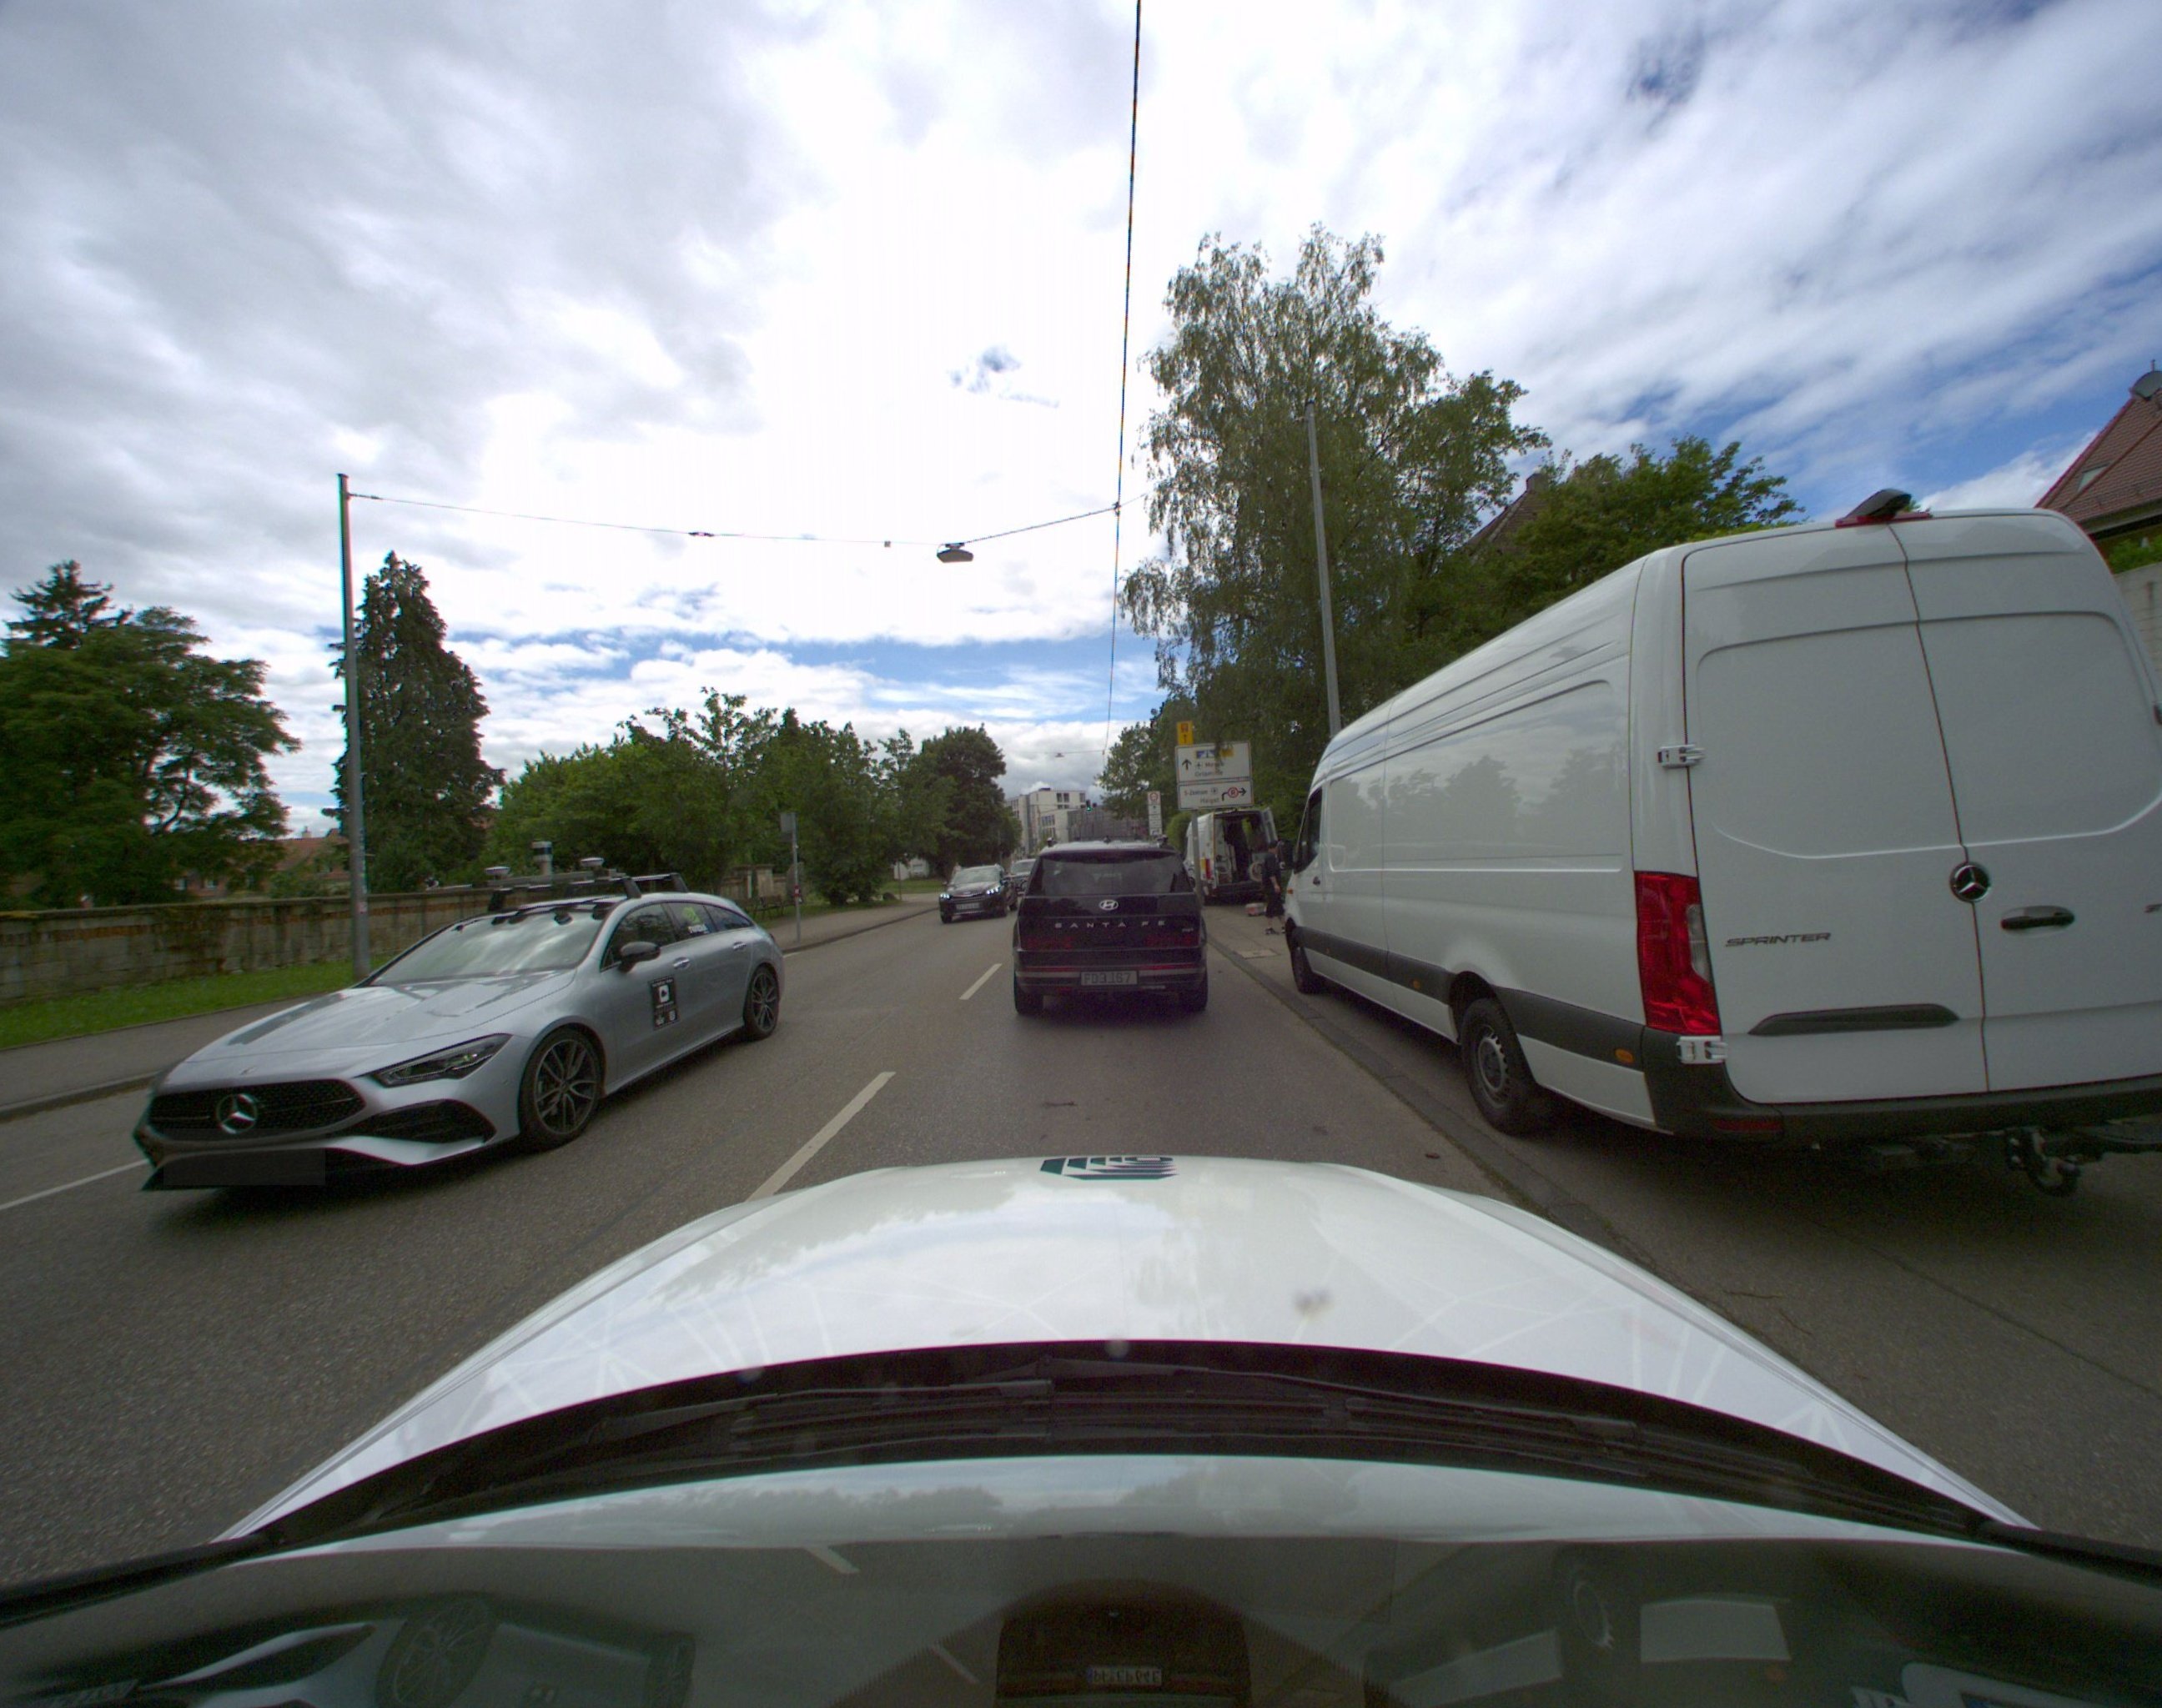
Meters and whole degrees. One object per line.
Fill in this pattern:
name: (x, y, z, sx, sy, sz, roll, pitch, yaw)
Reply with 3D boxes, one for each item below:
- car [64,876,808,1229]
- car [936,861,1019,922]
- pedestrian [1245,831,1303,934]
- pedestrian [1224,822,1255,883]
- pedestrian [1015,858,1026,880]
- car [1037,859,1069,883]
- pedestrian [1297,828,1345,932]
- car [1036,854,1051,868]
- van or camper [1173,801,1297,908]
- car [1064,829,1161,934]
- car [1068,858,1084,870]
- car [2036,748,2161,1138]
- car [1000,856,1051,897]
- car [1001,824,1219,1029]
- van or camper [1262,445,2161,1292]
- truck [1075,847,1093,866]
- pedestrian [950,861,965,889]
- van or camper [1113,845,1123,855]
car: (-3.743, 0.979, 5.985, 1.750, 1.403, 4.416, -5, -1, 2)
car: (-2.919, 1.025, 23.750, 1.695, 1.483, 4.001, -5, -1, 2)
pedestrian: (3.418, 0.489, 14.403, 0.783, 1.720, 0.756, -5, 0, 18)
pedestrian: (4.483, -0.047, 22.999, 0.732, 1.643, 0.803, -4, -1, 11)
pedestrian: (-5.639, 1.378, 76.071, 0.826, 2.014, 1.048, 0, -1, 4)
car: (-1.952, 1.196, 57.370, 1.808, 1.419, 4.830, -6, -1, 1)
pedestrian: (4.185, 0.452, 14.179, 0.642, 1.751, 0.658, -3, -1, 22)
car: (-6.659, 1.209, 143.375, 2.328, 2.315, 4.950, -3, 0, -4)
van or camper: (4.335, 0.081, 24.247, 2.332, 2.494, 6.603, -6, -1, 1)
car: (0.685, 0.556, 17.889, 1.890, 2.042, 3.995, 0, -1, 2)
car: (-0.582, 1.292, 107.348, 1.831, 1.538, 4.270, -3, 0, 2)
car: (6.769, 0.242, 2.983, 4.365, 1.675, 1.696, -4, -1, 2)
car: (-2.541, 1.009, 38.290, 1.873, 1.644, 4.129, -5, -1, 1)
car: (0.315, 0.652, 9.080, 1.890, 1.776, 3.995, 0, -1, 2)
van or camper: (3.062, 0.063, 5.955, 1.984, 2.625, 6.546, -6, -1, 2)
truck: (0.598, 0.621, 177.016, 3.101, 3.859, 9.606, -3, 0, -4)
pedestrian: (-7.711, 1.293, 50.843, 0.764, 1.748, 0.904, -2, -1, 1)
van or camper: (7.805, -0.823, 171.518, 1.791, 1.999, 3.821, 0, -1, -2)
